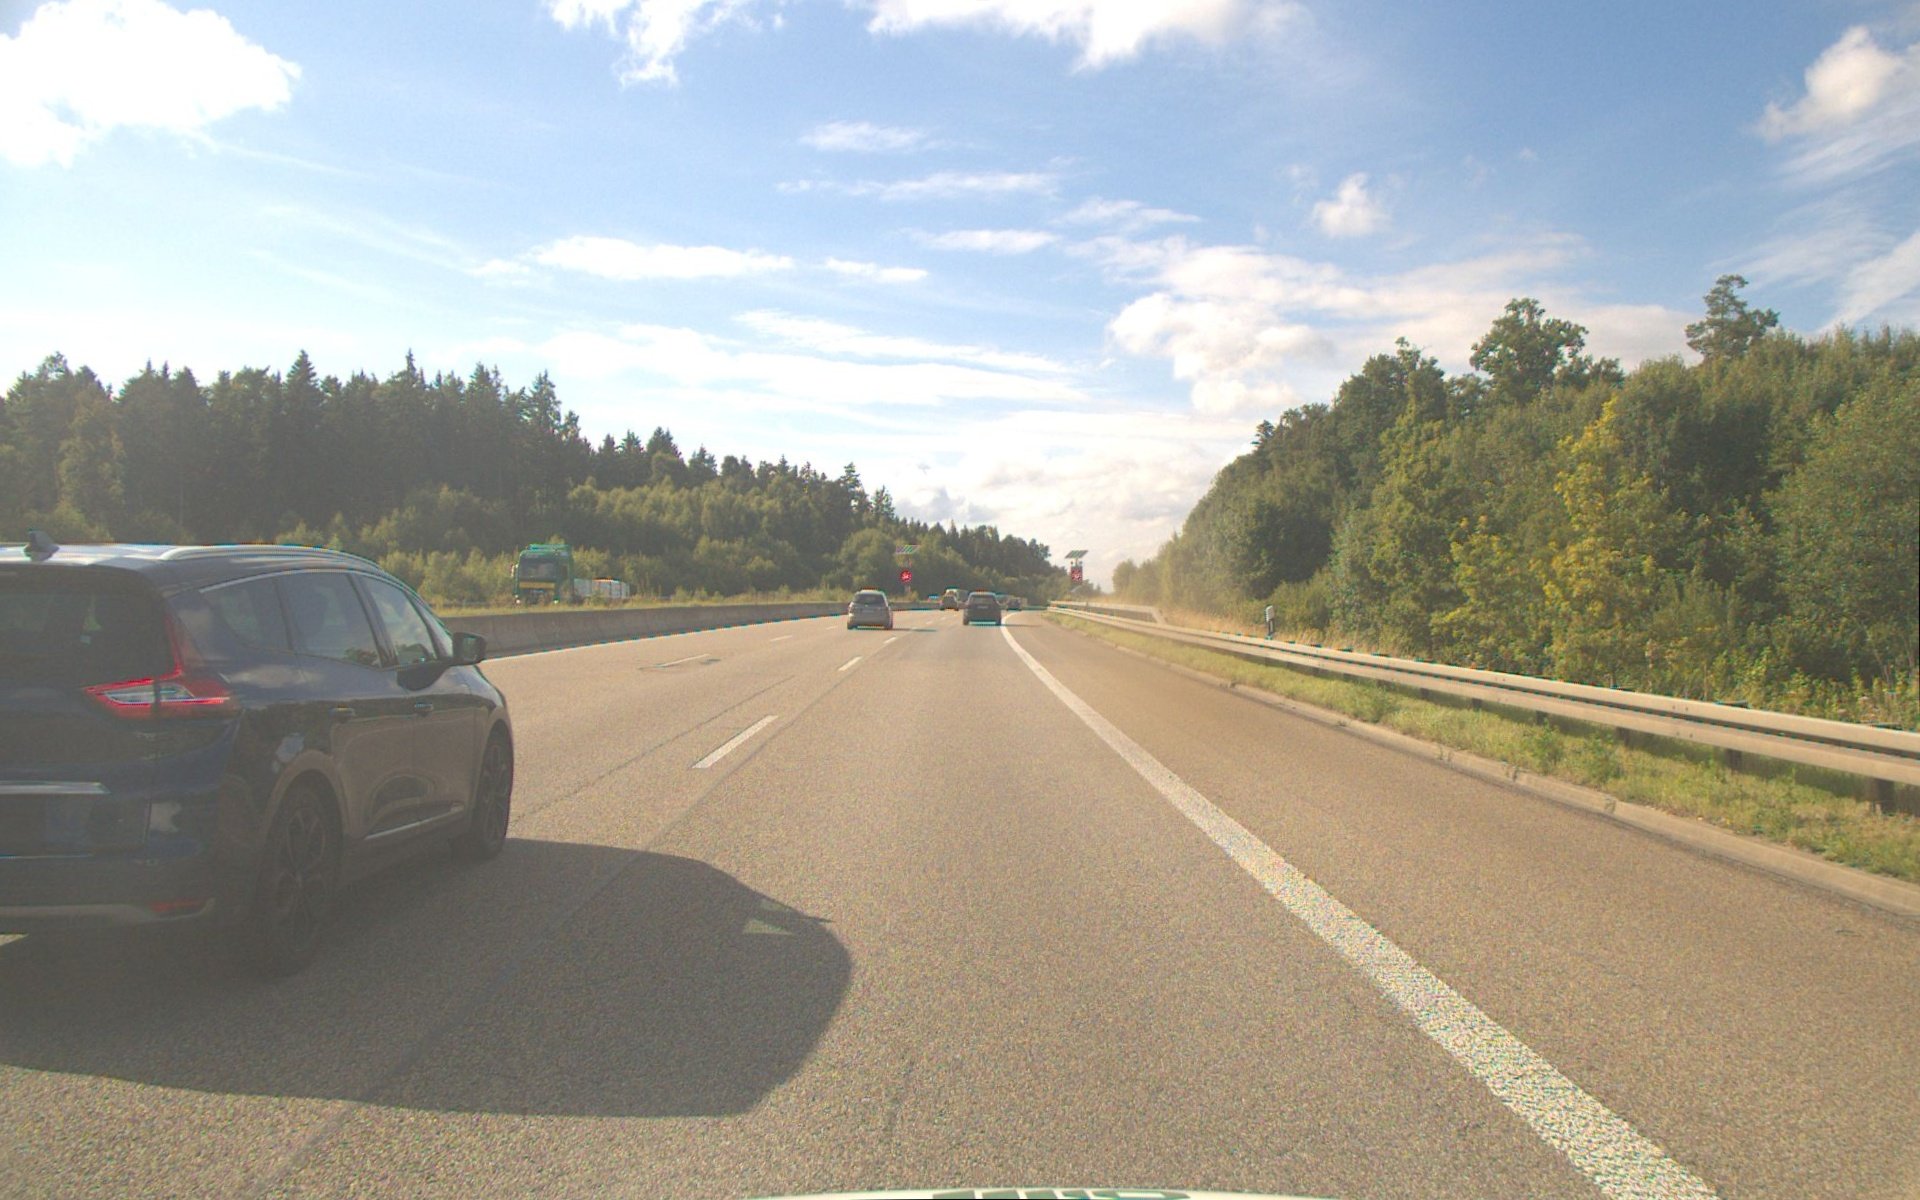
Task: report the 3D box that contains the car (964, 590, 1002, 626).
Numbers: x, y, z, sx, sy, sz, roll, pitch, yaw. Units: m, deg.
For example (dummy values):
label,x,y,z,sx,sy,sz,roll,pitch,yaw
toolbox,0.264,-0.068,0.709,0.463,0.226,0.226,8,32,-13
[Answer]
label,x,y,z,sx,sy,sz,roll,pitch,yaw
car,1.144,0.400,82.815,1.835,1.704,3.890,1,1,0

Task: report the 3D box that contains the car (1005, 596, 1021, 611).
label,x,y,z,sx,sy,sz,roll,pitch,yaw
car,6.333,0.400,196.442,1.774,1.735,4.002,0,0,3

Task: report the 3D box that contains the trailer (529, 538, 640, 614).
label,x,y,z,sx,sy,sz,roll,pitch,yaw
trailer,-21.905,-1.347,97.563,3.306,4.079,13.641,1,0,0

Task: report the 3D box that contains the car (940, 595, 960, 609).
label,x,y,z,sx,sy,sz,roll,pitch,yaw
car,-1.086,0.200,181.794,1.834,1.523,3.882,1,1,4

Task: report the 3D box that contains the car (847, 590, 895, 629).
label,x,y,z,sx,sy,sz,roll,pitch,yaw
car,-3.682,0.369,68.936,1.836,1.523,3.879,1,1,-1

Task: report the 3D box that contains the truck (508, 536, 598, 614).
label,x,y,z,sx,sy,sz,roll,pitch,yaw
truck,-21.975,-1.321,89.581,3.306,4.079,5.864,1,0,0

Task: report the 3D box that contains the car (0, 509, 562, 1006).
label,x,y,z,sx,sy,sz,roll,pitch,yaw
car,-3.432,0.531,8.051,1.953,1.736,4.528,1,0,-1
